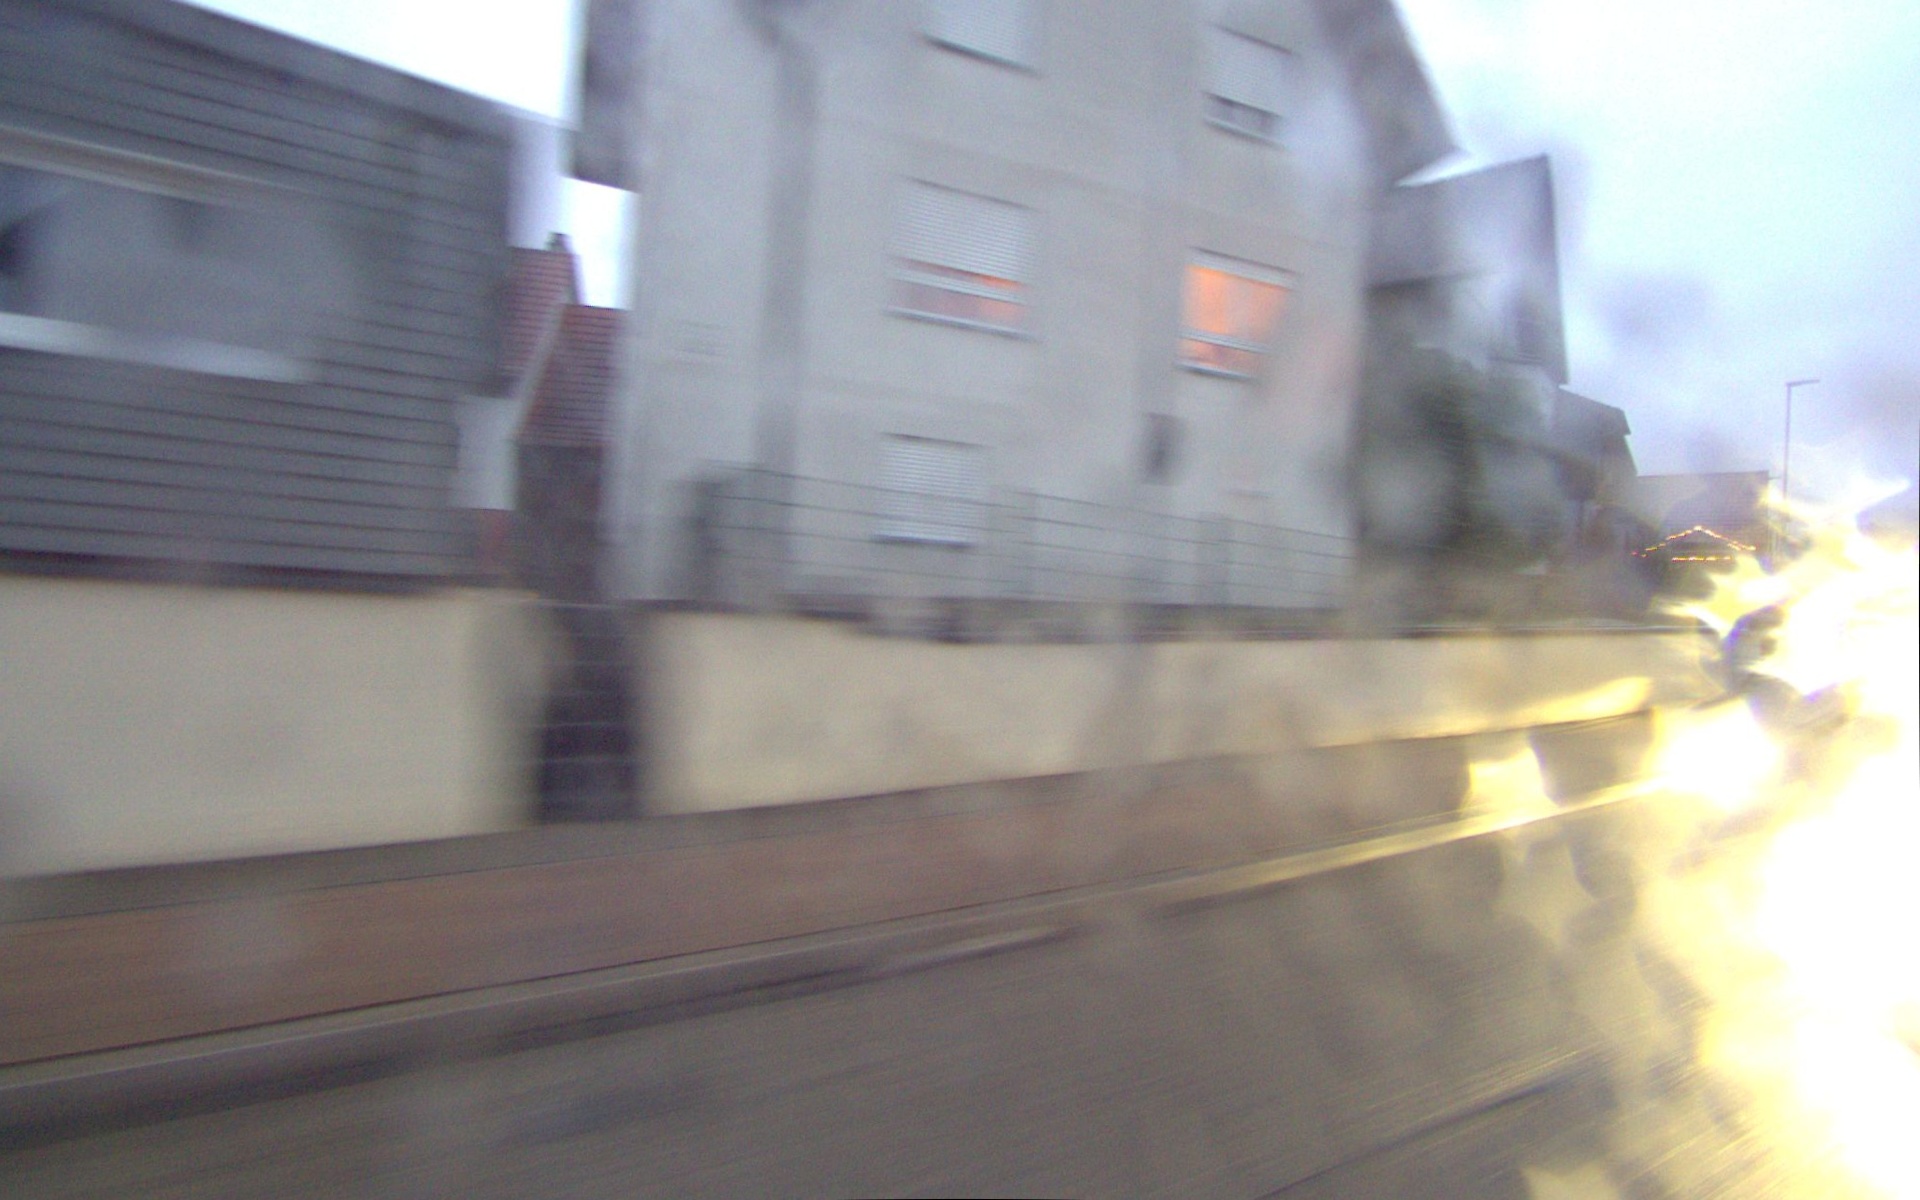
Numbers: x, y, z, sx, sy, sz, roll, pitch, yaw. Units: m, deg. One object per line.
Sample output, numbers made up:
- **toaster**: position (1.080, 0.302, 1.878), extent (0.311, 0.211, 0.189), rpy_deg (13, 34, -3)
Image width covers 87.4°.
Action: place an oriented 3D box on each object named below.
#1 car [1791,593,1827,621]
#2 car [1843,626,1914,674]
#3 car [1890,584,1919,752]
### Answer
- **car**: position (51.950, 0.445, 61.486), extent (1.664, 1.605, 4.155), rpy_deg (0, -1, 40)
- **car**: position (30.504, 1.628, 33.432), extent (1.599, 1.457, 3.639), rpy_deg (0, -1, 40)
- **car**: position (14.228, 0.875, 13.123), extent (4.933, 2.054, 2.096), rpy_deg (1, 0, -35)
